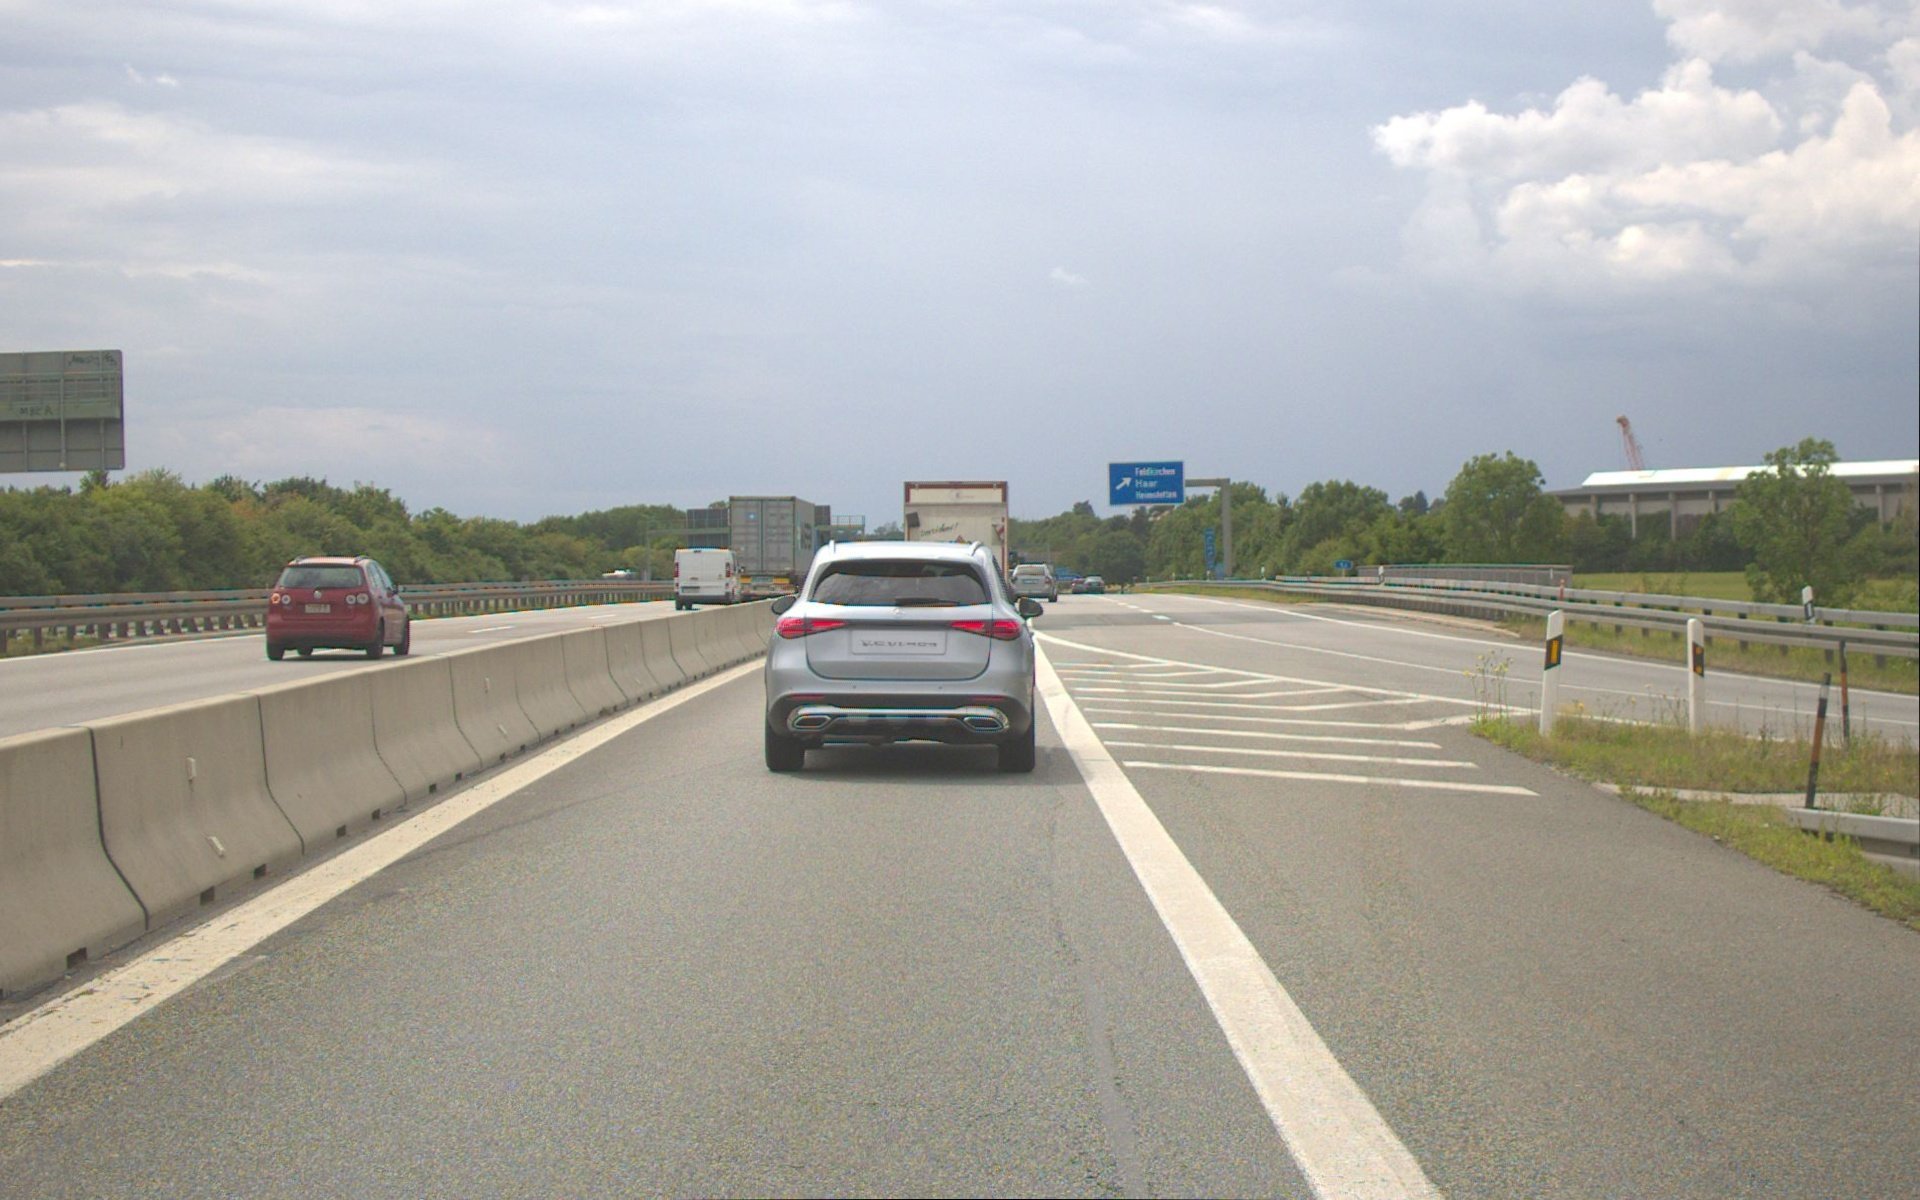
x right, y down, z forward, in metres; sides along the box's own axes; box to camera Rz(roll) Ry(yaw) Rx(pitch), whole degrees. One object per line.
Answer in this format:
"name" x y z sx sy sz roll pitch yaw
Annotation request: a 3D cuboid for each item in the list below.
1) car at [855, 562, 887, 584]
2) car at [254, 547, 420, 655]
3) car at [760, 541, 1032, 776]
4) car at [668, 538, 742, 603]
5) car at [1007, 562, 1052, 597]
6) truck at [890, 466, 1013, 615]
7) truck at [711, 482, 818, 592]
"car" -5.409 -1.663 209.350 1.696 1.284 4.000 0 1 2
"car" -9.708 -0.014 53.879 1.819 1.540 4.355 0 2 0
"car" -0.458 0.361 25.122 1.819 1.509 4.001 0 2 -1
"car" -8.292 -0.975 112.034 1.993 2.006 4.374 0 2 1
"car" 2.703 -0.797 132.397 1.696 1.284 4.000 0 1 2
"truck" -0.225 -1.287 76.655 2.569 3.115 8.635 0 0 -1
"truck" -7.470 -2.421 133.434 3.183 4.005 16.075 0 1 0
